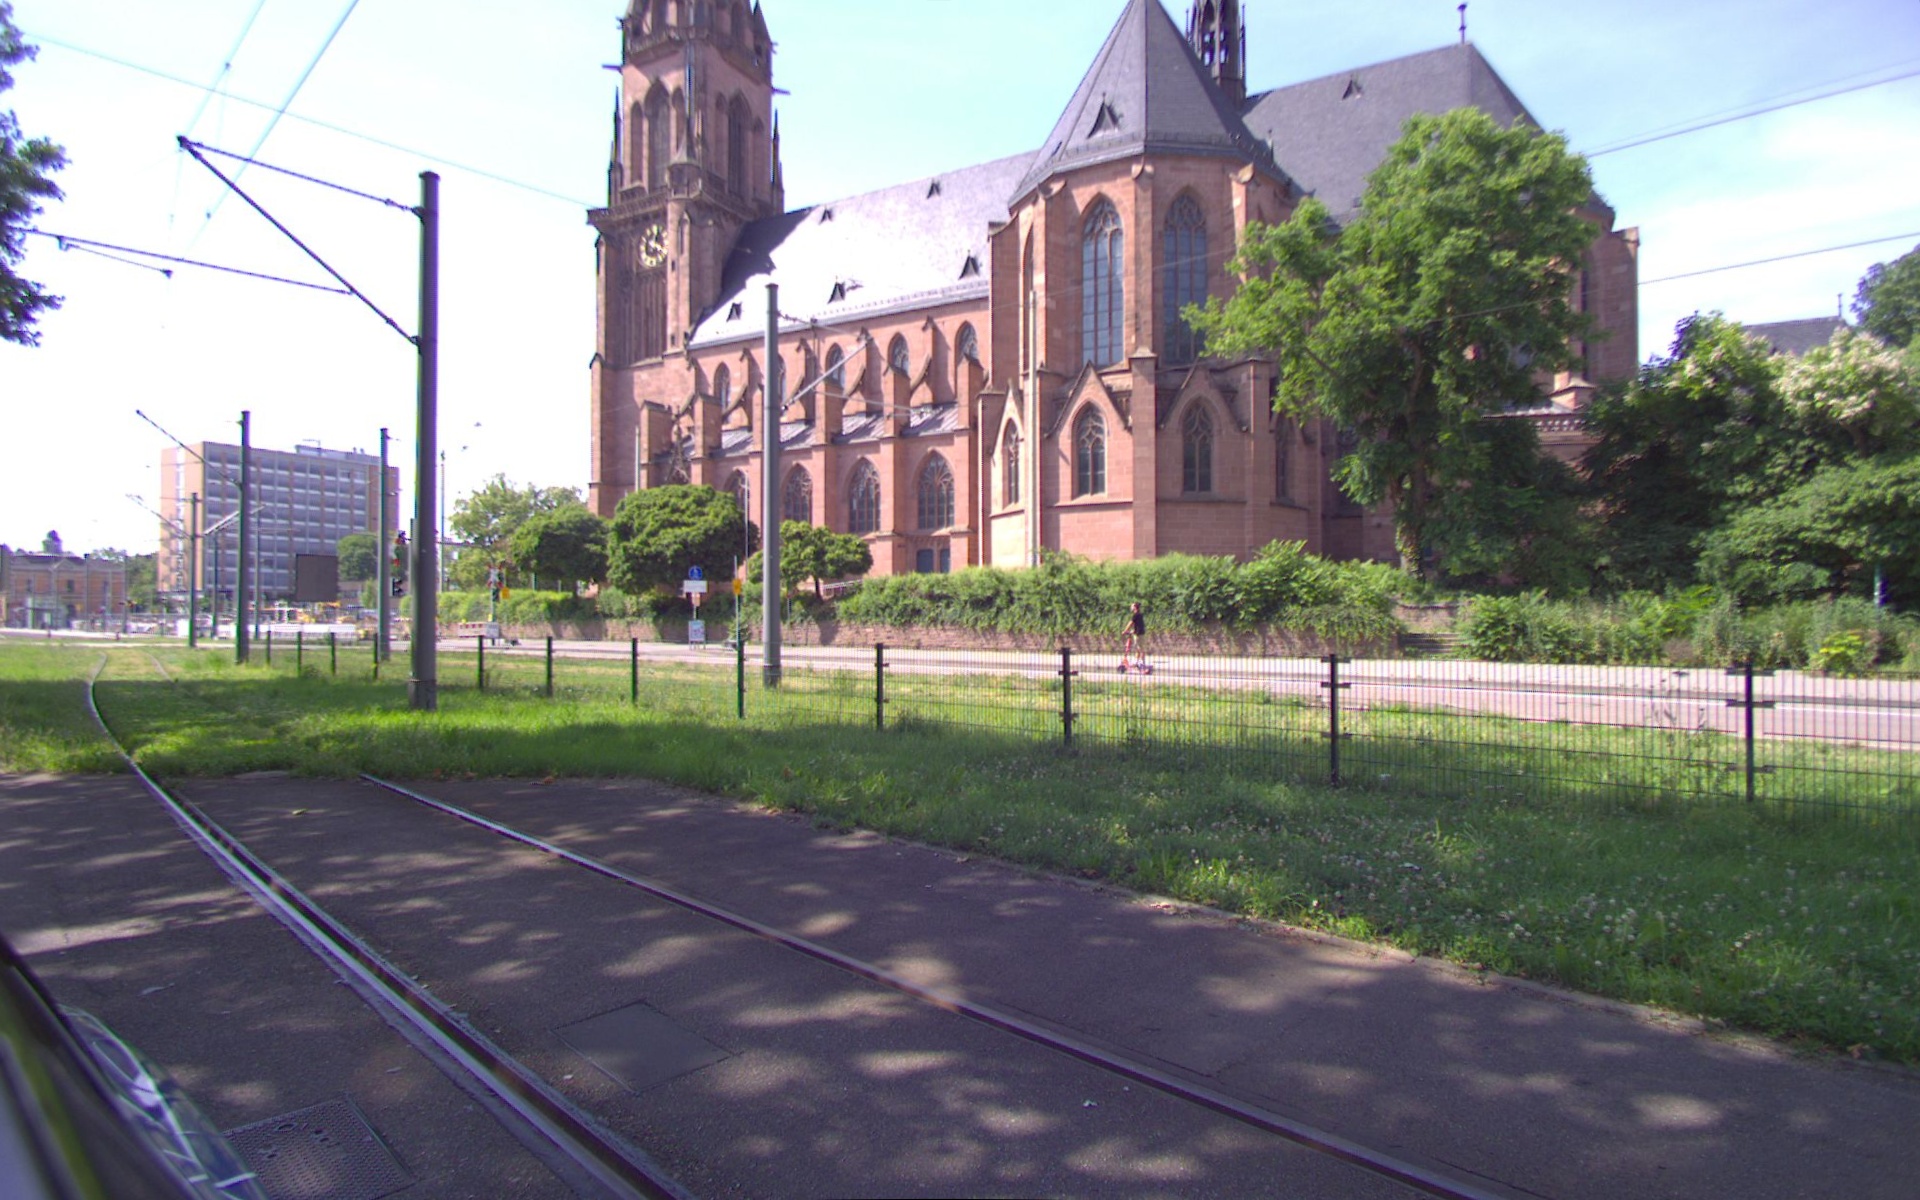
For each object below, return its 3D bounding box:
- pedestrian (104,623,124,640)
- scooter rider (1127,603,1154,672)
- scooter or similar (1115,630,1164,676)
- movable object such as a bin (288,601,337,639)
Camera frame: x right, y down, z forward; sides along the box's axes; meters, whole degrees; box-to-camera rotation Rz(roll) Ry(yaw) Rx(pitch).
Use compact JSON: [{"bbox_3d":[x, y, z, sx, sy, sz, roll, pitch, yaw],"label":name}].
[{"bbox_3d":[-94.180,3.471,112.669,1.420,1.820,1.409,-1,-2,37],"label":"pedestrian"},{"bbox_3d":[4.947,1.018,27.782,0.661,1.881,0.663,0,-1,7],"label":"scooter rider"},{"bbox_3d":[4.917,1.447,27.772,1.255,1.213,0.656,0,-1,7],"label":"scooter or similar"},{"bbox_3d":[-68.468,2.094,107.084,2.904,3.911,3.327,0,-1,8],"label":"movable object such as a bin"}]
